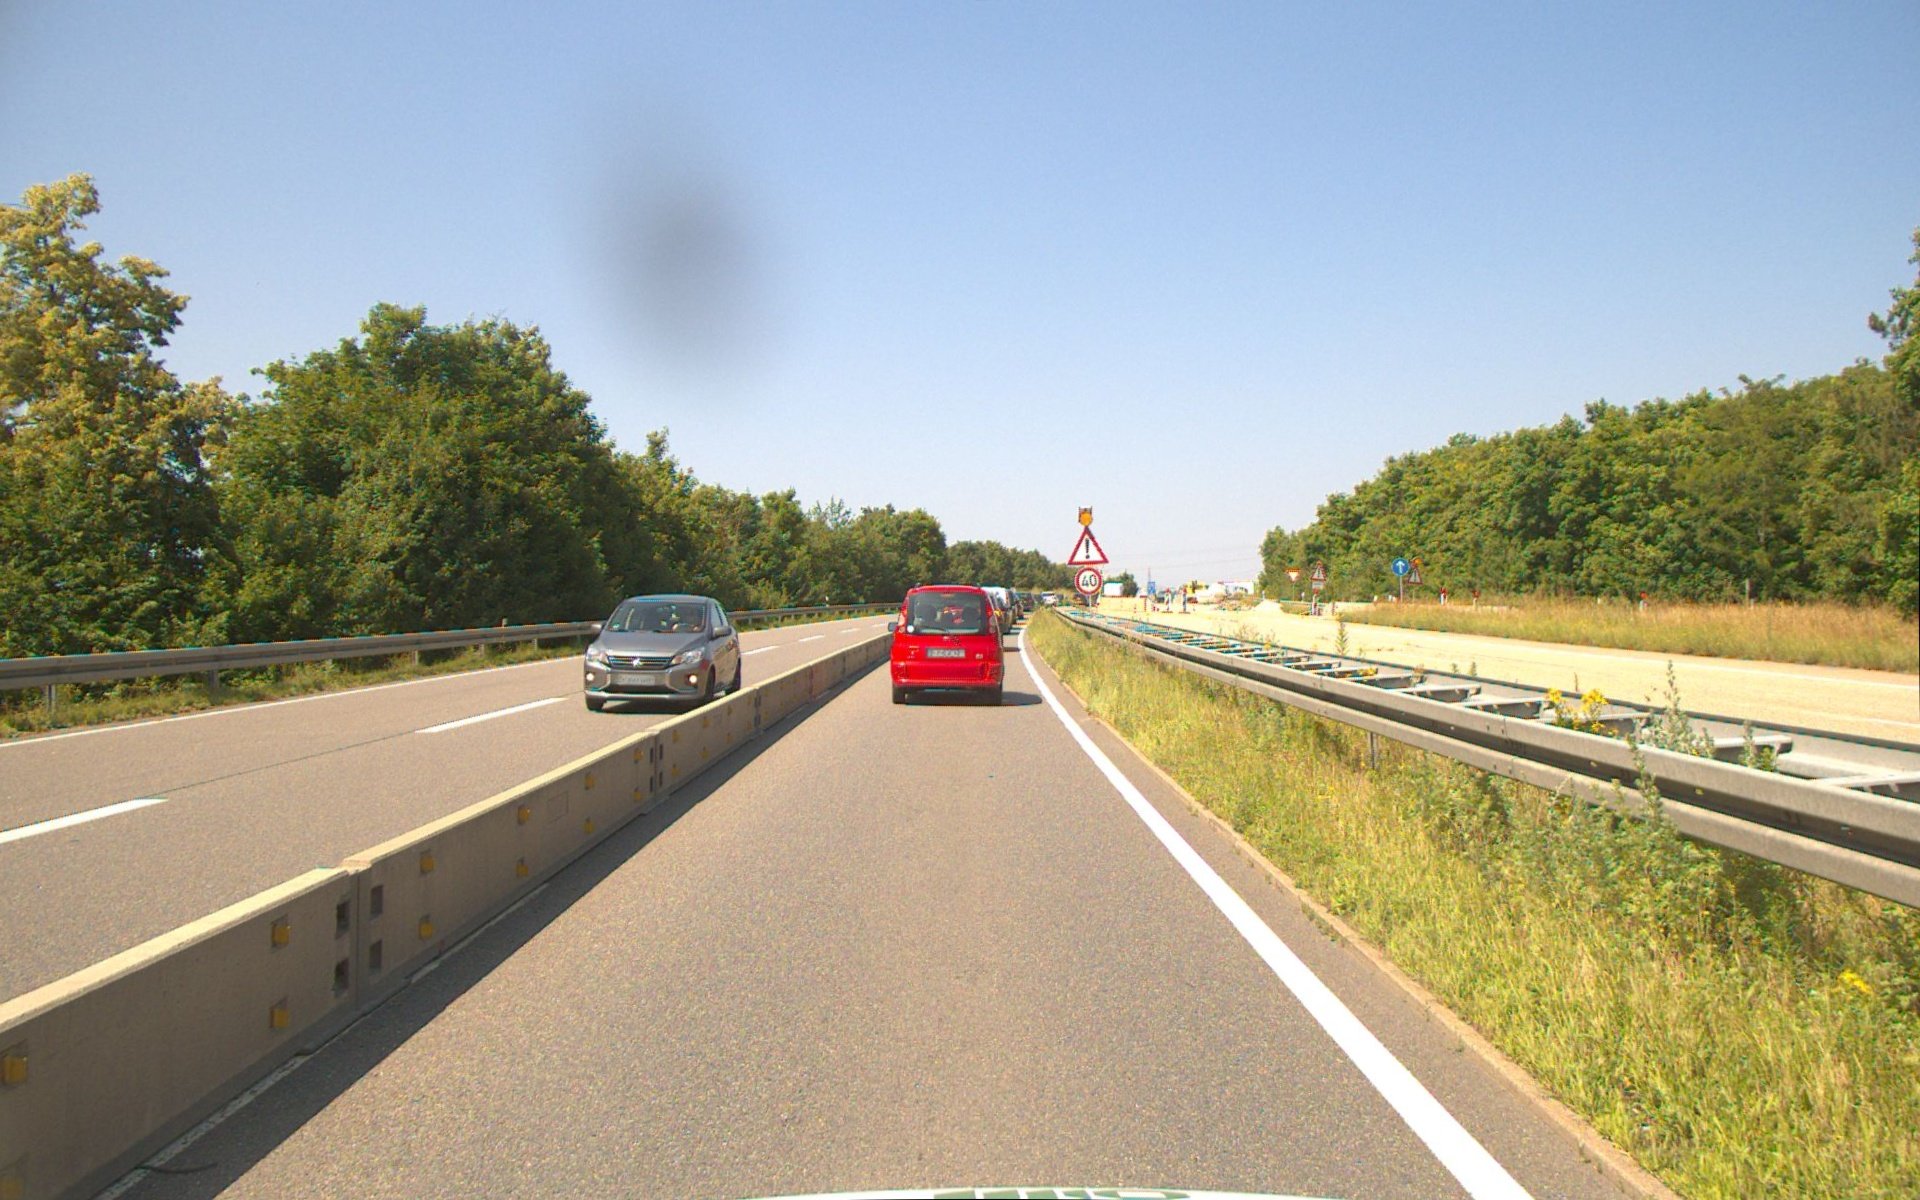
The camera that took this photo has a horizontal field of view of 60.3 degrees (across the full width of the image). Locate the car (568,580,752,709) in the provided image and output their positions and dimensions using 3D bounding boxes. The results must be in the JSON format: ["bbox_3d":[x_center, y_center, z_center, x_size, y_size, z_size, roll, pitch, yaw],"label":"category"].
[{"bbox_3d":[-4.035,0.570,22.910,1.910,1.606,4.433,0,0,-2],"label":"car"}]

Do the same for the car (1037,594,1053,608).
[{"bbox_3d":[7.811,0.090,151.887,1.391,1.321,2.881,-1,0,5],"label":"car"}]

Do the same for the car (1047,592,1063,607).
[{"bbox_3d":[9.606,-0.092,167.469,1.470,1.476,3.172,-1,0,5],"label":"car"}]

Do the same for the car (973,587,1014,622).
[{"bbox_3d":[1.715,0.234,85.956,1.953,1.780,3.999,0,0,-1],"label":"car"}]

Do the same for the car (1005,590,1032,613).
[{"bbox_3d":[4.306,0.108,120.883,1.952,1.612,4.001,0,0,2],"label":"car"}]

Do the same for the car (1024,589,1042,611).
[{"bbox_3d":[5.993,0.020,136.080,1.470,1.767,3.171,1,0,3],"label":"car"}]

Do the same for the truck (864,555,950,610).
[{"bbox_3d":[-5.448,-1.803,171.085,8.439,5.469,3.391,-1,0,4],"label":"truck"}]

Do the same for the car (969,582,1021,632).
[{"bbox_3d":[1.342,0.275,64.895,1.952,1.870,4.000,0,0,1],"label":"car"}]

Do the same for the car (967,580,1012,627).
[{"bbox_3d":[1.302,0.134,74.532,1.953,2.039,4.000,1,0,0],"label":"car"}]

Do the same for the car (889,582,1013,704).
[{"bbox_3d":[-0.194,0.597,24.988,1.716,1.702,3.998,0,0,-2],"label":"car"}]

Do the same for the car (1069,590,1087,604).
[{"bbox_3d":[13.667,-0.365,191.448,1.952,1.579,4.001,-1,0,2],"label":"car"}]

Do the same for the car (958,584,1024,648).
[{"bbox_3d":[0.880,0.434,47.138,1.792,1.752,4.000,-1,0,1],"label":"car"}]
